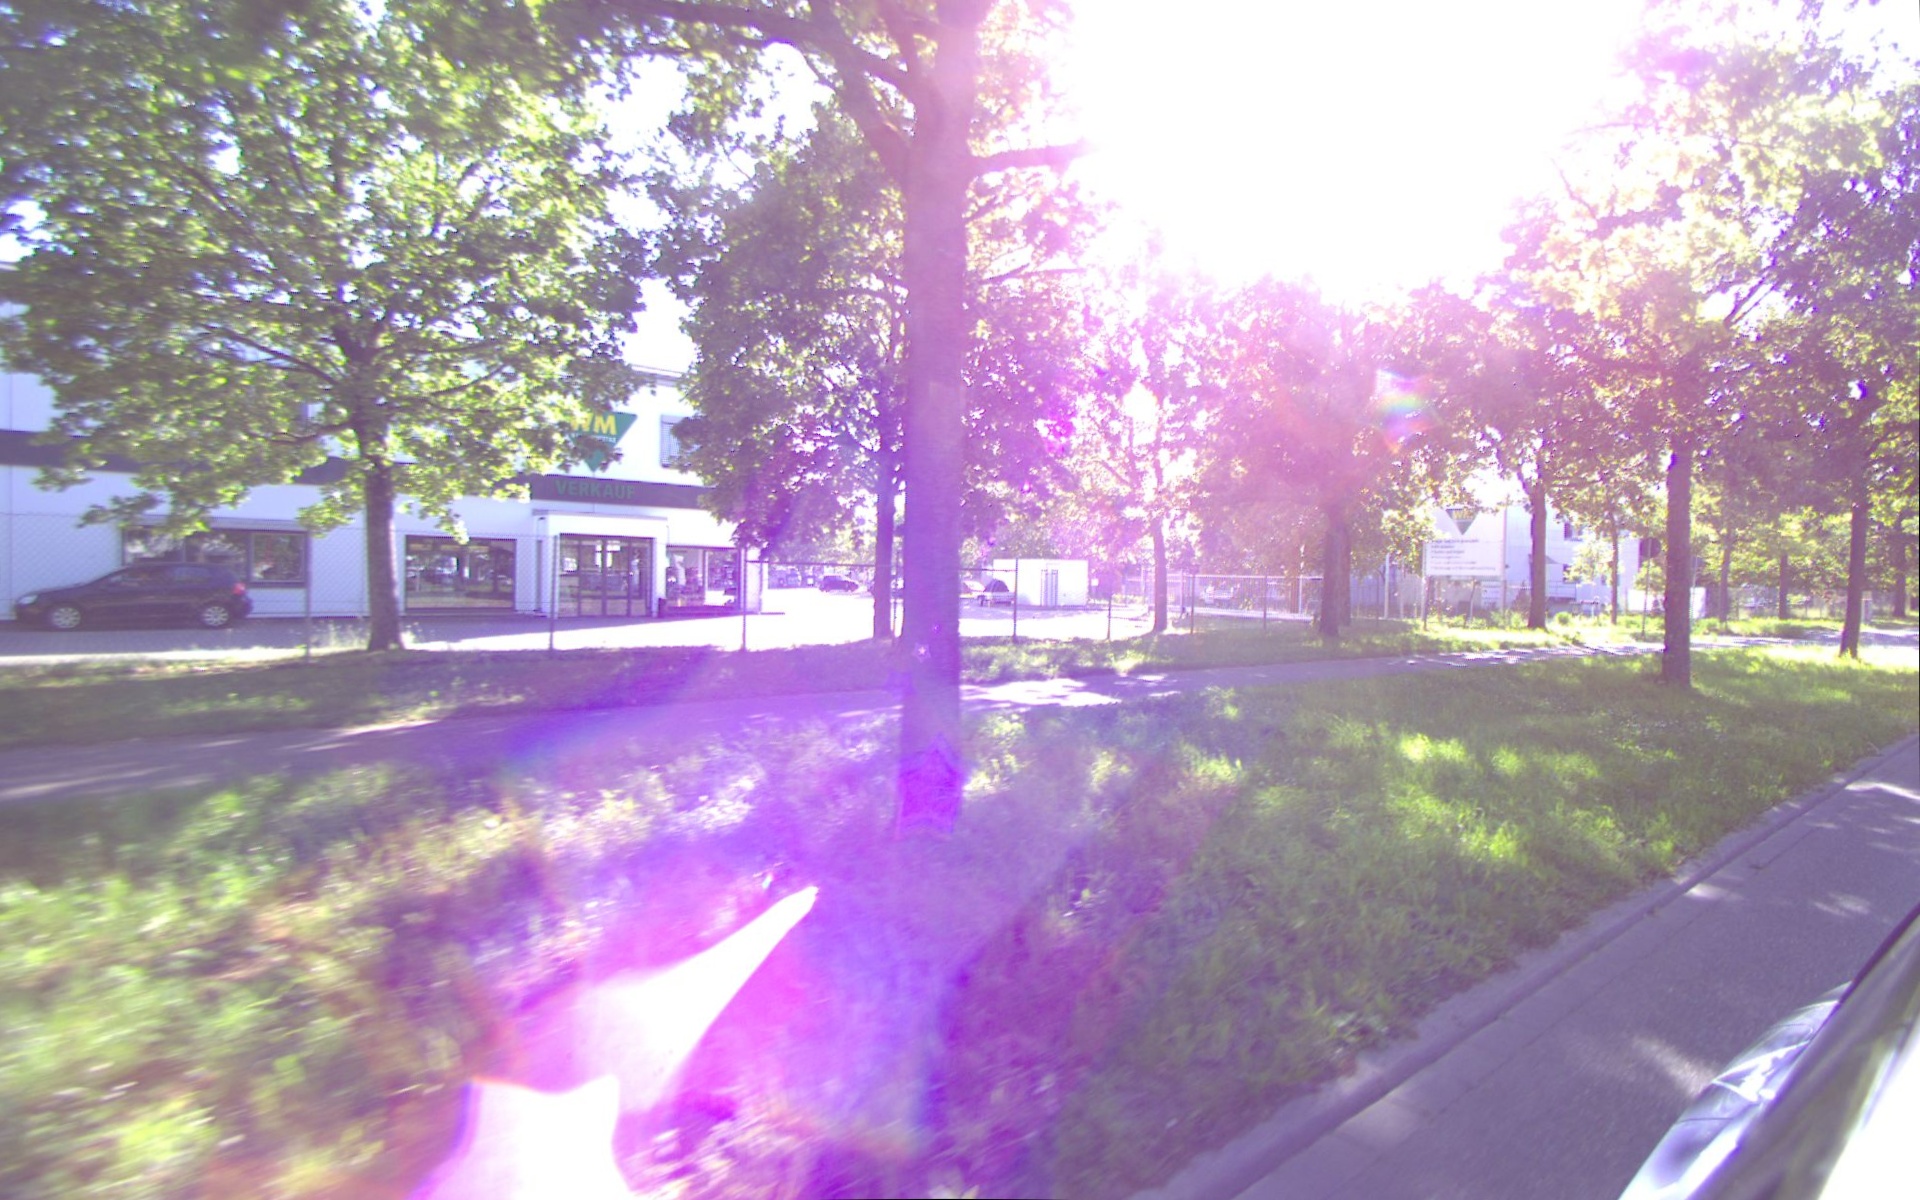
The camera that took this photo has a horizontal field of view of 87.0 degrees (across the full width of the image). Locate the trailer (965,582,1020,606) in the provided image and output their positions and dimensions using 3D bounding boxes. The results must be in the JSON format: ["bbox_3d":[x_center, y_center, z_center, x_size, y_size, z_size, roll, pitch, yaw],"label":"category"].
[{"bbox_3d":[1.806,-0.363,57.212,1.695,1.282,3.604,1,1,-24],"label":"trailer"}]

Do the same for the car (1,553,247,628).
[{"bbox_3d":[-18.392,-0.216,22.466,4.085,1.525,1.719,-1,0,-40],"label":"car"}]

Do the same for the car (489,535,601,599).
[{"bbox_3d":[-18.147,-1.404,44.375,4.111,2.665,1.997,0,1,-42],"label":"car"}]

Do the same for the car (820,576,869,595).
[{"bbox_3d":[-10.236,-1.249,89.282,3.917,1.635,1.903,-1,0,-23],"label":"car"}]

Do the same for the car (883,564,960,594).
[{"bbox_3d":[-2.673,-1.450,70.627,5.009,2.039,2.003,-1,0,-25],"label":"car"}]

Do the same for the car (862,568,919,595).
[{"bbox_3d":[-5.347,-1.408,77.505,3.917,2.039,2.004,-1,0,-23],"label":"car"}]
